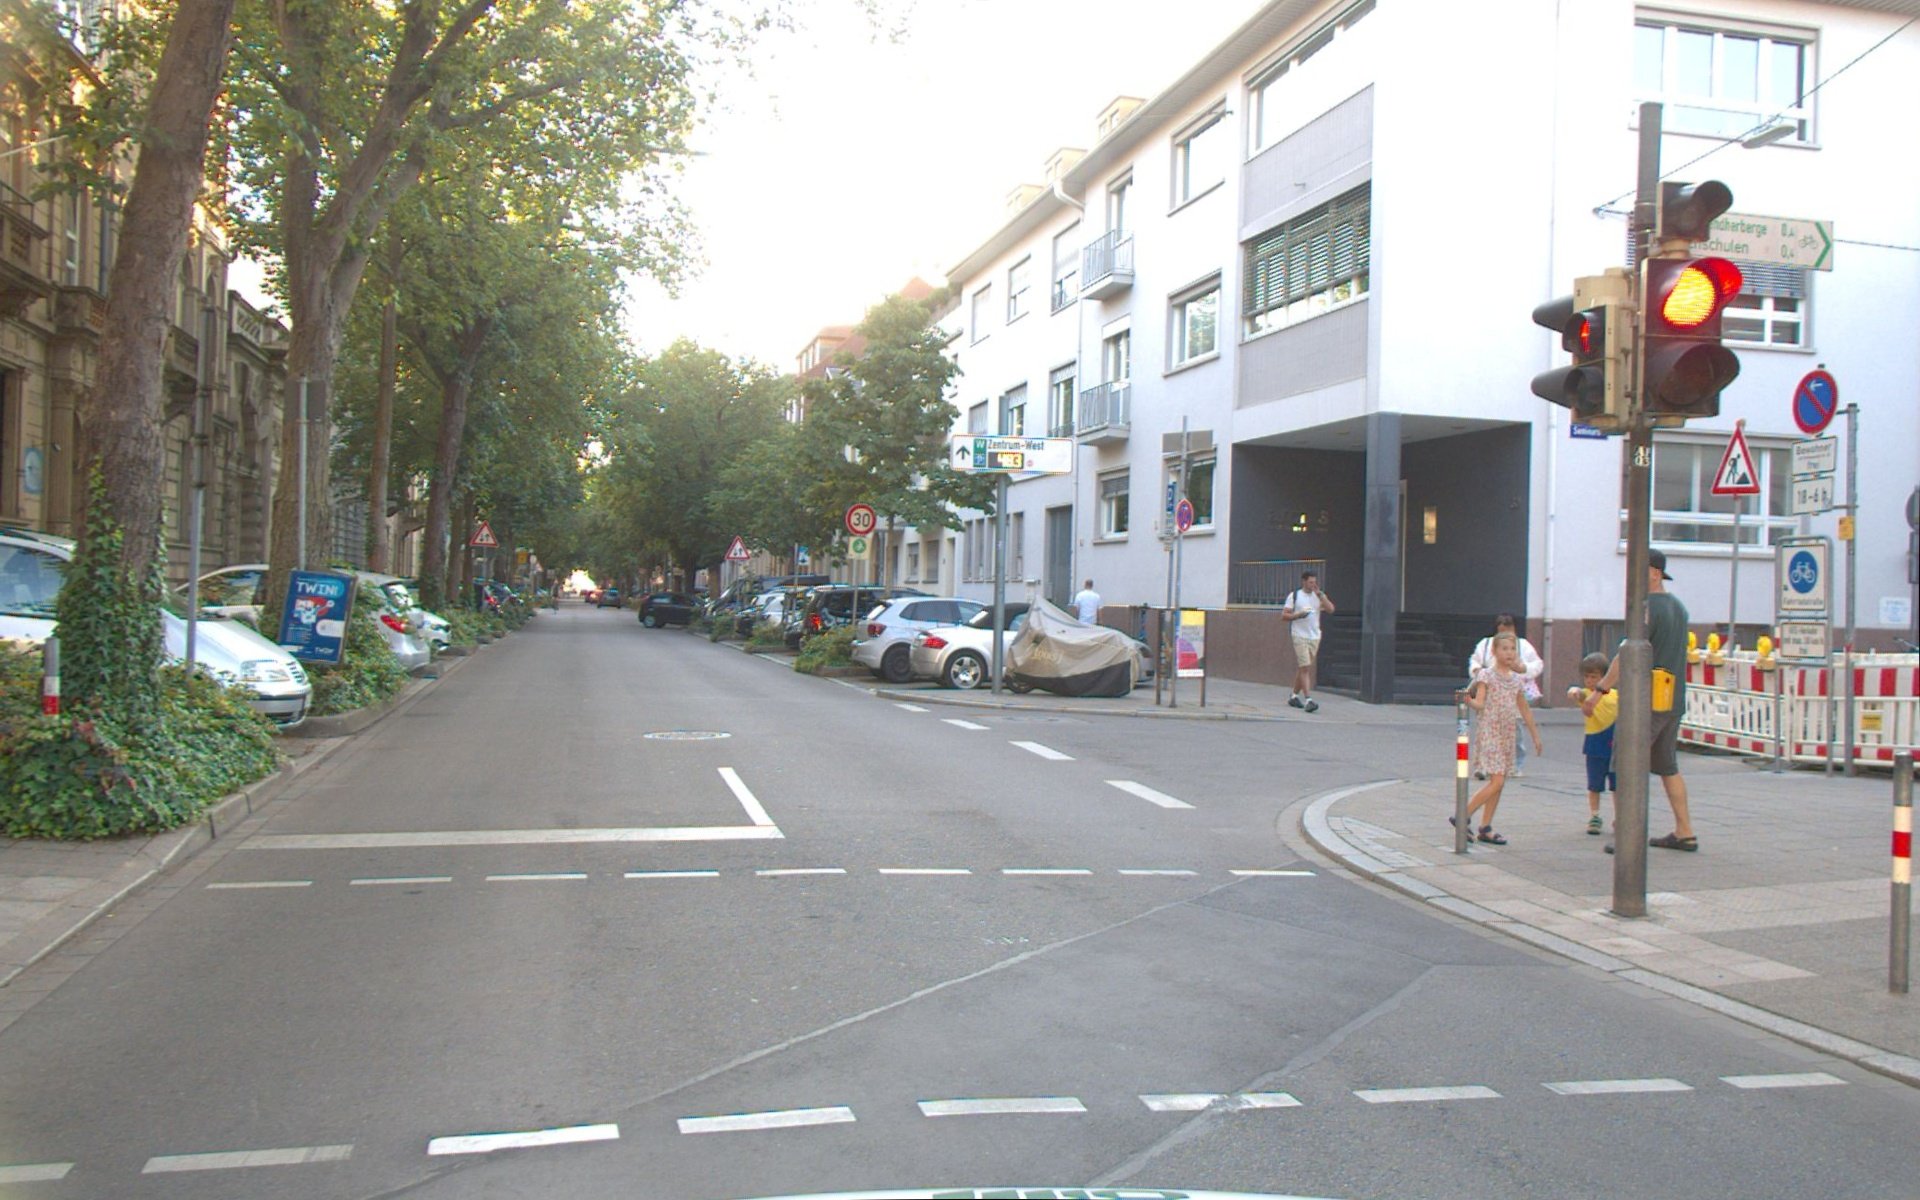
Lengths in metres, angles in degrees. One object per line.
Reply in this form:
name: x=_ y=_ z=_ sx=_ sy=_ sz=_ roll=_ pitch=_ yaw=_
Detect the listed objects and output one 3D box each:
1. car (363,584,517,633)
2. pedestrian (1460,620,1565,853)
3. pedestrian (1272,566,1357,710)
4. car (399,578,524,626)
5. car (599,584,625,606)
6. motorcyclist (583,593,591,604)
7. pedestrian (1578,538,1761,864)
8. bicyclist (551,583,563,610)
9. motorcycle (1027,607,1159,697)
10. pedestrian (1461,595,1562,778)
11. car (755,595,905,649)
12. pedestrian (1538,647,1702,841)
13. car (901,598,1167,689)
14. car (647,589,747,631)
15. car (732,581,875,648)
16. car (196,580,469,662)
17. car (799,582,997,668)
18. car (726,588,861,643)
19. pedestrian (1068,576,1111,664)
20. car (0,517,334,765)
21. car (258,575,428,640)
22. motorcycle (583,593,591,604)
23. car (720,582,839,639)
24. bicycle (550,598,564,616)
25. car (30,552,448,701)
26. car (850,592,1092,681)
car: x=-16.447 y=0.264 z=52.485 sx=4.469 sy=1.434 sz=1.827 roll=1 pitch=0 yaw=-13
pedestrian: x=3.371 y=0.815 z=10.122 sx=0.494 sy=1.359 sz=0.541 roll=2 pitch=0 yaw=10
pedestrian: x=4.746 y=0.499 z=22.183 sx=0.753 sy=1.873 sz=0.941 roll=2 pitch=0 yaw=-12
car: x=-19.321 y=0.076 z=64.294 sx=4.469 sy=1.721 sz=1.827 roll=2 pitch=0 yaw=-13
car: x=-27.250 y=-0.370 z=129.367 sx=1.794 sy=1.589 sz=4.013 roll=3 pitch=0 yaw=-14
motorcyclist: x=-42.989 y=-0.214 z=190.651 sx=0.804 sy=1.258 sz=0.847 roll=3 pitch=-1 yaw=-13
pedestrian: x=4.267 y=0.555 z=9.938 sx=0.872 sy=1.847 sz=0.792 roll=2 pitch=2 yaw=32
bicyclist: x=-22.502 y=-0.187 z=92.397 sx=0.562 sy=1.495 sz=0.639 roll=2 pitch=-1 yaw=-19
motorcycle: x=1.865 y=0.727 z=23.296 sx=1.764 sy=1.220 sz=0.612 roll=1 pitch=0 yaw=-4
pedestrian: x=4.801 y=0.725 z=14.380 sx=0.758 sy=1.527 sz=0.801 roll=0 pitch=0 yaw=24
car: x=-3.629 y=0.614 z=46.054 sx=3.945 sy=1.434 sz=1.701 roll=1 pitch=0 yaw=-14
pedestrian: x=4.226 y=0.897 z=10.623 sx=0.558 sy=1.140 sz=0.831 roll=0 pitch=1 yaw=-23
car: x=1.159 y=0.683 z=26.426 sx=3.944 sy=1.366 sz=1.701 roll=1 pitch=0 yaw=-13
car: x=-11.148 y=0.424 z=70.246 sx=3.898 sy=1.605 sz=1.909 roll=2 pitch=-1 yaw=-2
car: x=-4.573 y=0.417 z=48.190 sx=3.945 sy=1.847 sz=1.701 roll=1 pitch=0 yaw=-14
car: x=-11.496 y=0.388 z=30.596 sx=4.469 sy=1.396 sz=1.827 roll=1 pitch=0 yaw=-13
car: x=-1.330 y=0.524 z=35.051 sx=3.945 sy=1.720 sz=1.701 roll=1 pitch=0 yaw=-14
car: x=-5.151 y=0.477 z=50.979 sx=3.945 sy=1.557 sz=1.701 roll=2 pitch=0 yaw=-14
pedestrian: x=2.673 y=0.402 z=34.140 sx=0.691 sy=1.782 sz=0.698 roll=2 pitch=0 yaw=-9
car: x=-7.515 y=0.300 z=13.264 sx=4.474 sy=1.867 sz=1.825 roll=1 pitch=0 yaw=-16
car: x=-16.376 y=0.205 z=44.060 sx=3.969 sy=1.618 sz=1.827 roll=1 pitch=0 yaw=-13
motorcycle: x=-42.999 y=-0.210 z=190.695 sx=0.804 sy=1.258 sz=2.018 roll=3 pitch=0 yaw=-13
car: x=-6.373 y=0.368 z=58.151 sx=3.945 sy=1.862 sz=1.701 roll=2 pitch=0 yaw=-14
bicycle: x=-22.521 y=0.373 z=92.392 sx=0.562 sy=0.966 sz=1.735 roll=2 pitch=-1 yaw=-19
car: x=-8.845 y=0.338 z=20.685 sx=4.469 sy=1.718 sz=1.827 roll=1 pitch=0 yaw=-13
car: x=0.168 y=0.626 z=28.847 sx=3.945 sy=1.467 sz=1.701 roll=1 pitch=0 yaw=-14
